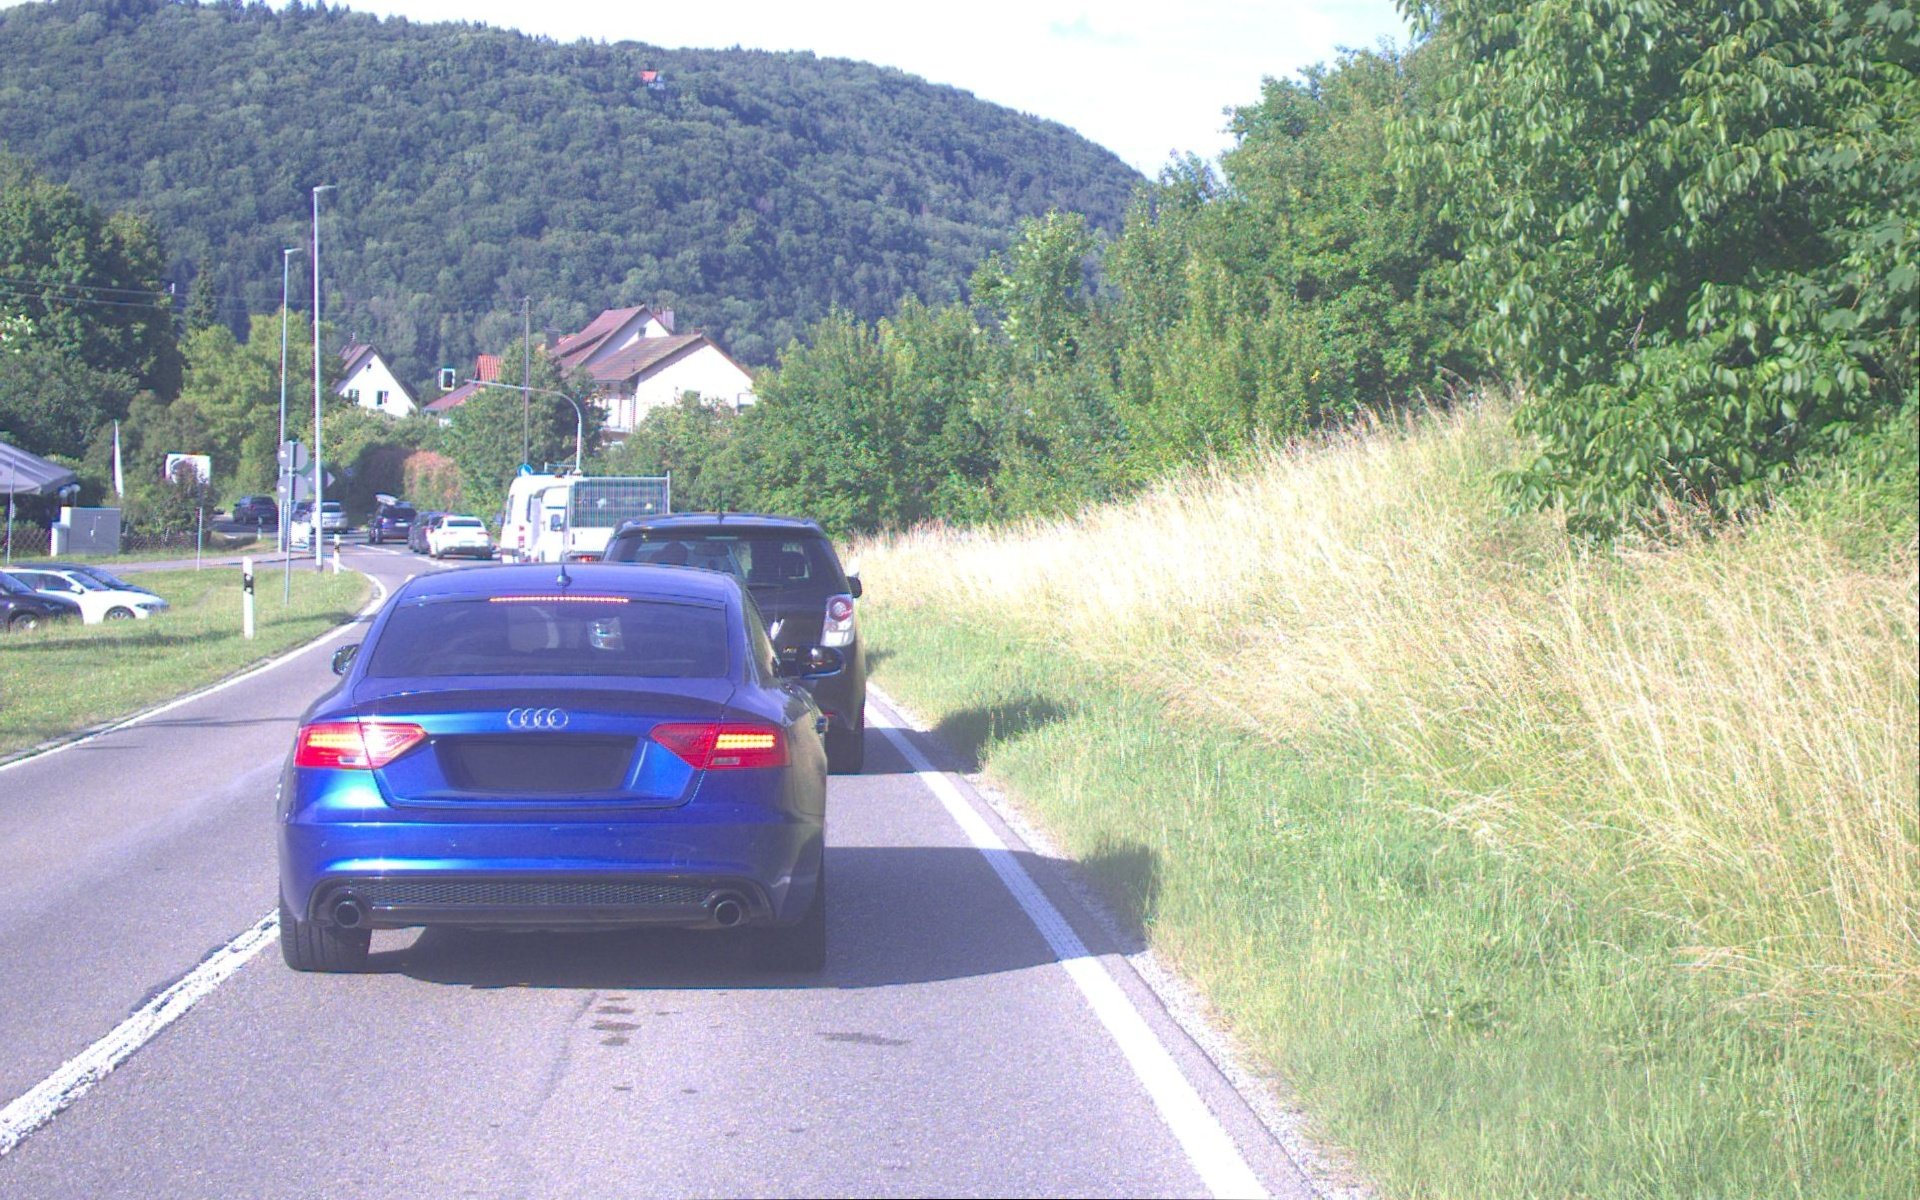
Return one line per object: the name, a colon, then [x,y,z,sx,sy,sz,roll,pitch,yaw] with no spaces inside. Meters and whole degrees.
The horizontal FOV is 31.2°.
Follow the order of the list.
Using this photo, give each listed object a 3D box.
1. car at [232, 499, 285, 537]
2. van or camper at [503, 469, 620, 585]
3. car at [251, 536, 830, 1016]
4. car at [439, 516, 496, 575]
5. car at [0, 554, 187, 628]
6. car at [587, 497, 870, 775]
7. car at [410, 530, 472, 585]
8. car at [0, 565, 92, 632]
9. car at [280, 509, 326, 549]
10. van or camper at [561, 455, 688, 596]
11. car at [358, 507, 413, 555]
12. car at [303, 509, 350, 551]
car: [-36.528,-4.244,179.020,1.954,1.918,4.001,-1,1,-23]
van or camper: [-9.710,-1.755,83.478,2.280,2.704,5.769,-1,1,-12]
car: [-1.374,0.514,12.284,1.742,1.445,3.517,1,1,-3]
car: [-16.410,-1.808,114.428,1.659,1.918,4.001,-1,1,-11]
car: [-19.955,-0.212,78.829,4.036,1.655,1.655,0,1,7]
car: [-1.552,0.182,22.252,1.645,1.619,3.518,1,1,-6]
car: [-18.412,-1.505,121.894,1.659,1.918,4.001,-1,1,-16]
car: [-20.886,-0.032,74.518,3.713,1.434,1.509,0,1,7]
car: [-31.967,-3.452,167.143,1.676,1.918,4.001,-1,1,-18]
van or camper: [-6.282,-1.366,63.855,2.051,2.497,5.813,-1,1,-8]
car: [-23.680,-2.831,141.626,1.676,1.918,4.001,-1,1,-17]
car: [-29.317,-3.220,159.095,1.676,1.918,4.001,-1,1,-17]
